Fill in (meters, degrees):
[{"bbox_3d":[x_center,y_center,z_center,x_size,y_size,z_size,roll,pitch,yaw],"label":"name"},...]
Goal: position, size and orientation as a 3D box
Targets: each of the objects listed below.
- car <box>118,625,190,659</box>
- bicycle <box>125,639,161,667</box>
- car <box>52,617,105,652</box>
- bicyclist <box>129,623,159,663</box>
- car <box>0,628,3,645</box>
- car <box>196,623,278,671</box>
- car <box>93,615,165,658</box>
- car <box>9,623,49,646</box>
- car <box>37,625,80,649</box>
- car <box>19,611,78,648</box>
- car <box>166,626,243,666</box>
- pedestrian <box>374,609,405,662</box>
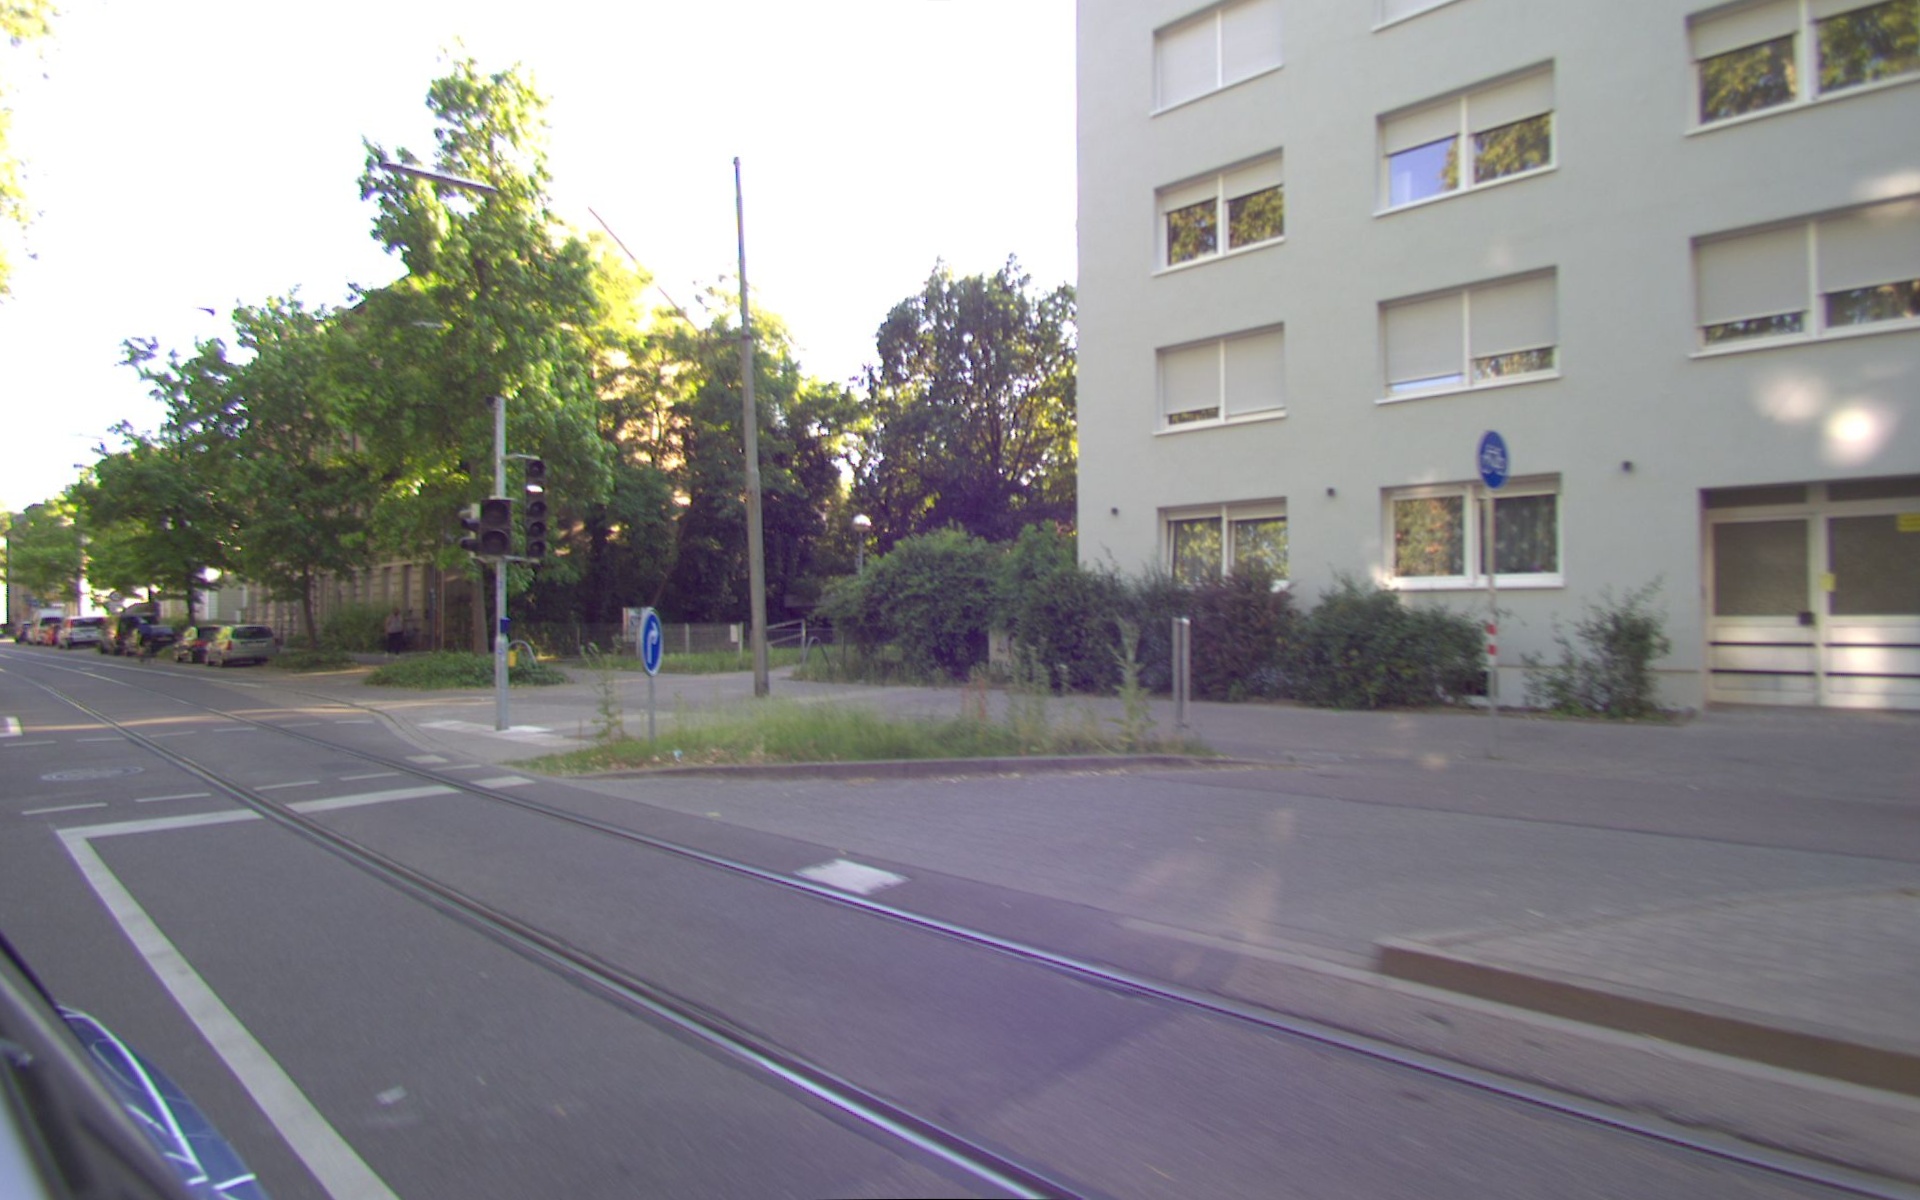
[{"bbox_3d":[-37.381,1.917,46.914,4.267,1.469,1.834,-1,-2,41],"label":"car"},{"bbox_3d":[-30.756,2.000,38.088,2.100,0.994,0.634,-1,-6,41],"label":"bicycle"},{"bbox_3d":[-52.080,2.026,59.749,4.987,2.004,1.824,-2,-2,43],"label":"car"},{"bbox_3d":[-30.737,1.631,38.132,0.836,1.466,0.634,-2,-6,41],"label":"bicyclist"},{"bbox_3d":[-90.613,3.404,94.129,4.936,1.504,1.754,-1,-1,39],"label":"car"},{"bbox_3d":[-26.129,1.659,36.533,4.538,1.562,1.680,-2,-1,45],"label":"car"},{"bbox_3d":[-41.413,1.792,50.390,4.831,2.029,1.973,-2,-2,41],"label":"car"},{"bbox_3d":[-70.092,2.594,76.136,4.262,1.703,1.970,-2,-2,44],"label":"car"},{"bbox_3d":[-59.428,2.416,66.697,3.706,1.551,1.667,-2,-2,41],"label":"car"},{"bbox_3d":[-63.166,2.035,70.103,5.339,2.527,2.280,-2,-2,40],"label":"car"},{"bbox_3d":[-29.650,1.785,39.700,3.947,1.456,1.641,-2,-1,41],"label":"car"},{"bbox_3d":[-20.540,1.261,36.462,0.728,1.861,0.734,-2,0,40],"label":"pedestrian"}]
